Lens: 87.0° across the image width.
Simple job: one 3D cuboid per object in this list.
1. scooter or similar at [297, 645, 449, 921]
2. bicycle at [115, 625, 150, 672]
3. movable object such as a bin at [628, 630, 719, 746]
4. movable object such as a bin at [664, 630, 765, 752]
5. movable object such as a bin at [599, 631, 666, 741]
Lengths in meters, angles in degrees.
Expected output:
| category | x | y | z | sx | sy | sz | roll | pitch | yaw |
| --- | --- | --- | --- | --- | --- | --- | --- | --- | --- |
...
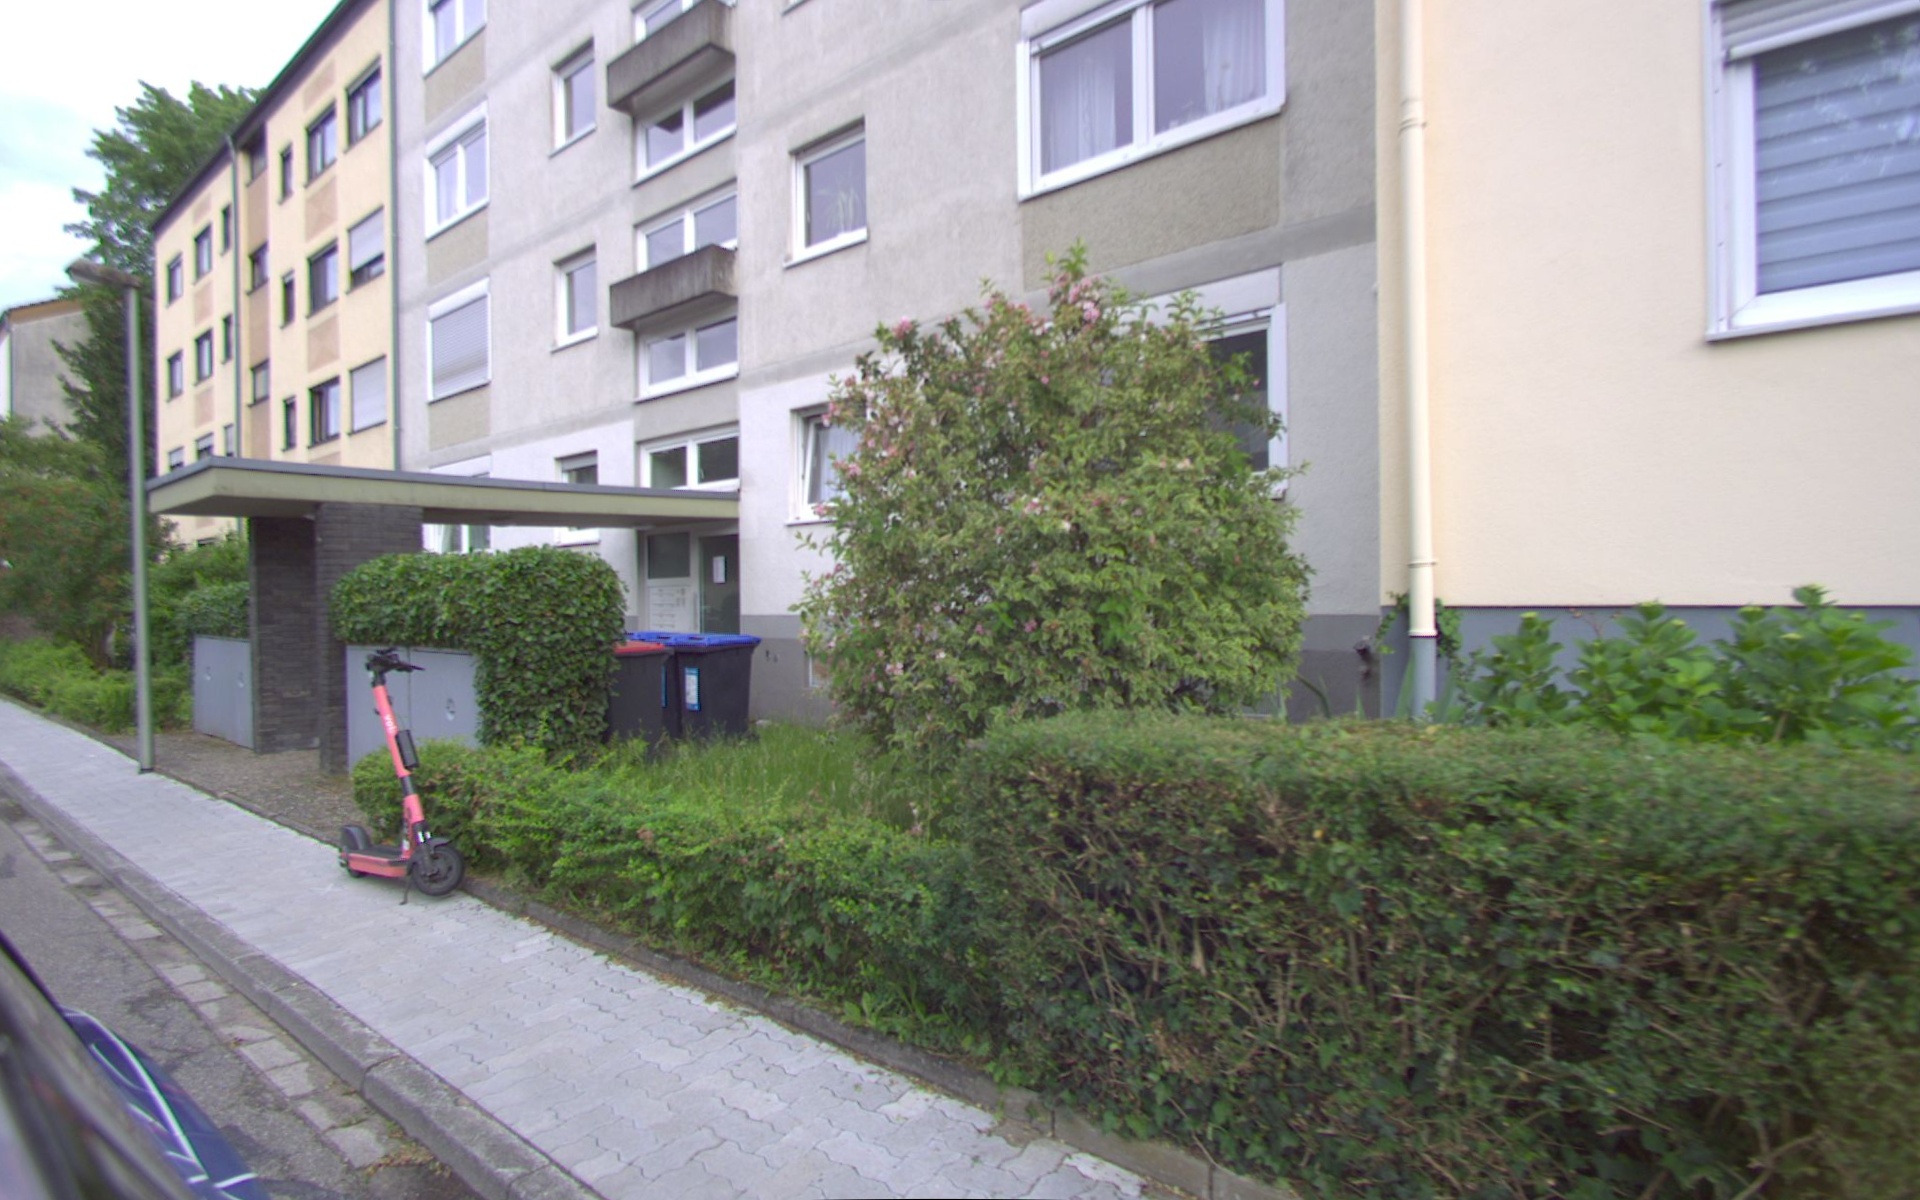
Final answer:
| category | x | y | z | sx | sy | sz | roll | pitch | yaw |
| --- | --- | --- | --- | --- | --- | --- | --- | --- | --- |
| scooter or similar | -2.927 | 0.838 | 5.008 | 1.163 | 1.220 | 0.270 | -2 | -1 | 40 |
| bicycle | -19.179 | 1.126 | 23.442 | 1.689 | 1.059 | 0.311 | -4 | -3 | 40 |
| movable object such as a bin | -2.727 | 0.809 | 9.641 | 0.589 | 1.042 | 0.617 | -1 | -1 | 40 |
| movable object such as a bin | -2.236 | 0.799 | 9.219 | 0.665 | 1.042 | 0.617 | -1 | -1 | 40 |
| movable object such as a bin | -3.255 | 0.831 | 10.055 | 0.528 | 1.027 | 0.582 | -1 | -1 | -28 |
